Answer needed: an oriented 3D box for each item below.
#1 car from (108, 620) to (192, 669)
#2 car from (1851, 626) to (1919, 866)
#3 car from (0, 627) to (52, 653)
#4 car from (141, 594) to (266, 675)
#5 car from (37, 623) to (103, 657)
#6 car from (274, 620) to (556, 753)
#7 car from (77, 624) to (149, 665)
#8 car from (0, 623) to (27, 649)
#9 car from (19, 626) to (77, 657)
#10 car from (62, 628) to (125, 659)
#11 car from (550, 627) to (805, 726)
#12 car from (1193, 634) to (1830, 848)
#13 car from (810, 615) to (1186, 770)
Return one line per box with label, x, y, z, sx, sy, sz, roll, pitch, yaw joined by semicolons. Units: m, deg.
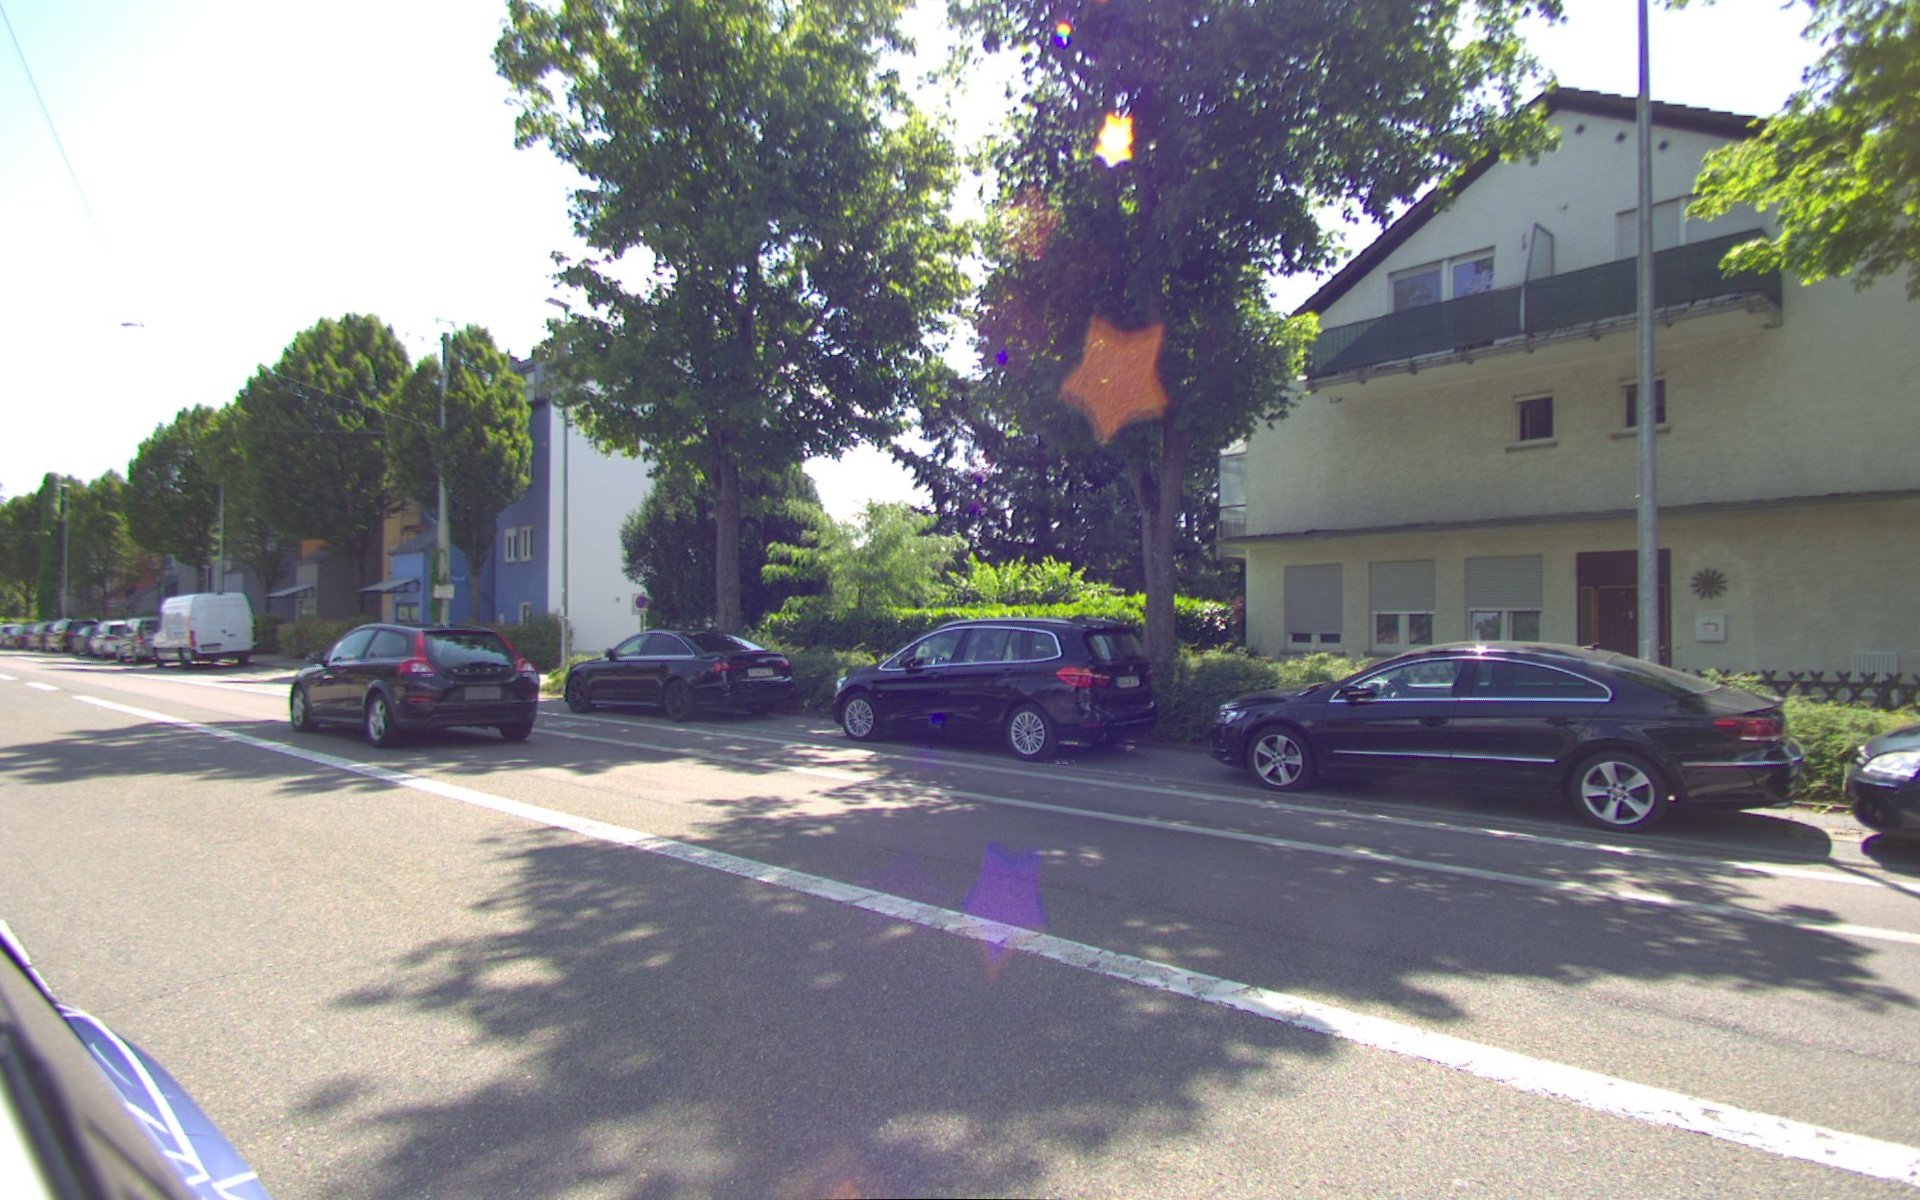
car;-34.399;1.835;42.917;5.358;1.909;1.788;-1;0;41
car;8.019;0.915;5.995;4.045;1.492;1.756;-1;-1;41
car;-56.066;2.359;60.474;4.954;1.457;1.726;-1;-1;37
car;-28.402;1.261;37.880;7.032;2.671;2.300;-2;1;42
car;-46.961;2.122;53.368;4.880;1.729;1.734;-2;-3;38
car;-6.887;1.000;12.638;4.001;1.409;1.661;-1;-4;39
car;-39.092;2.031;46.666;4.899;1.765;1.699;-1;-1;40
car;-60.885;2.272;64.092;4.884;1.519;1.641;0;1;35
car;-51.192;2.294;56.791;4.279;1.630;1.640;-1;-2;38
car;-42.907;2.112;50.102;4.081;1.482;1.583;-1;-2;38
car;-4.908;1.199;17.228;4.799;1.467;1.757;-1;-2;39
car;4.647;1.034;9.076;4.692;1.383;1.757;-1;0;39
car;0.330;1.021;12.795;4.632;1.616;1.757;-1;-1;39
